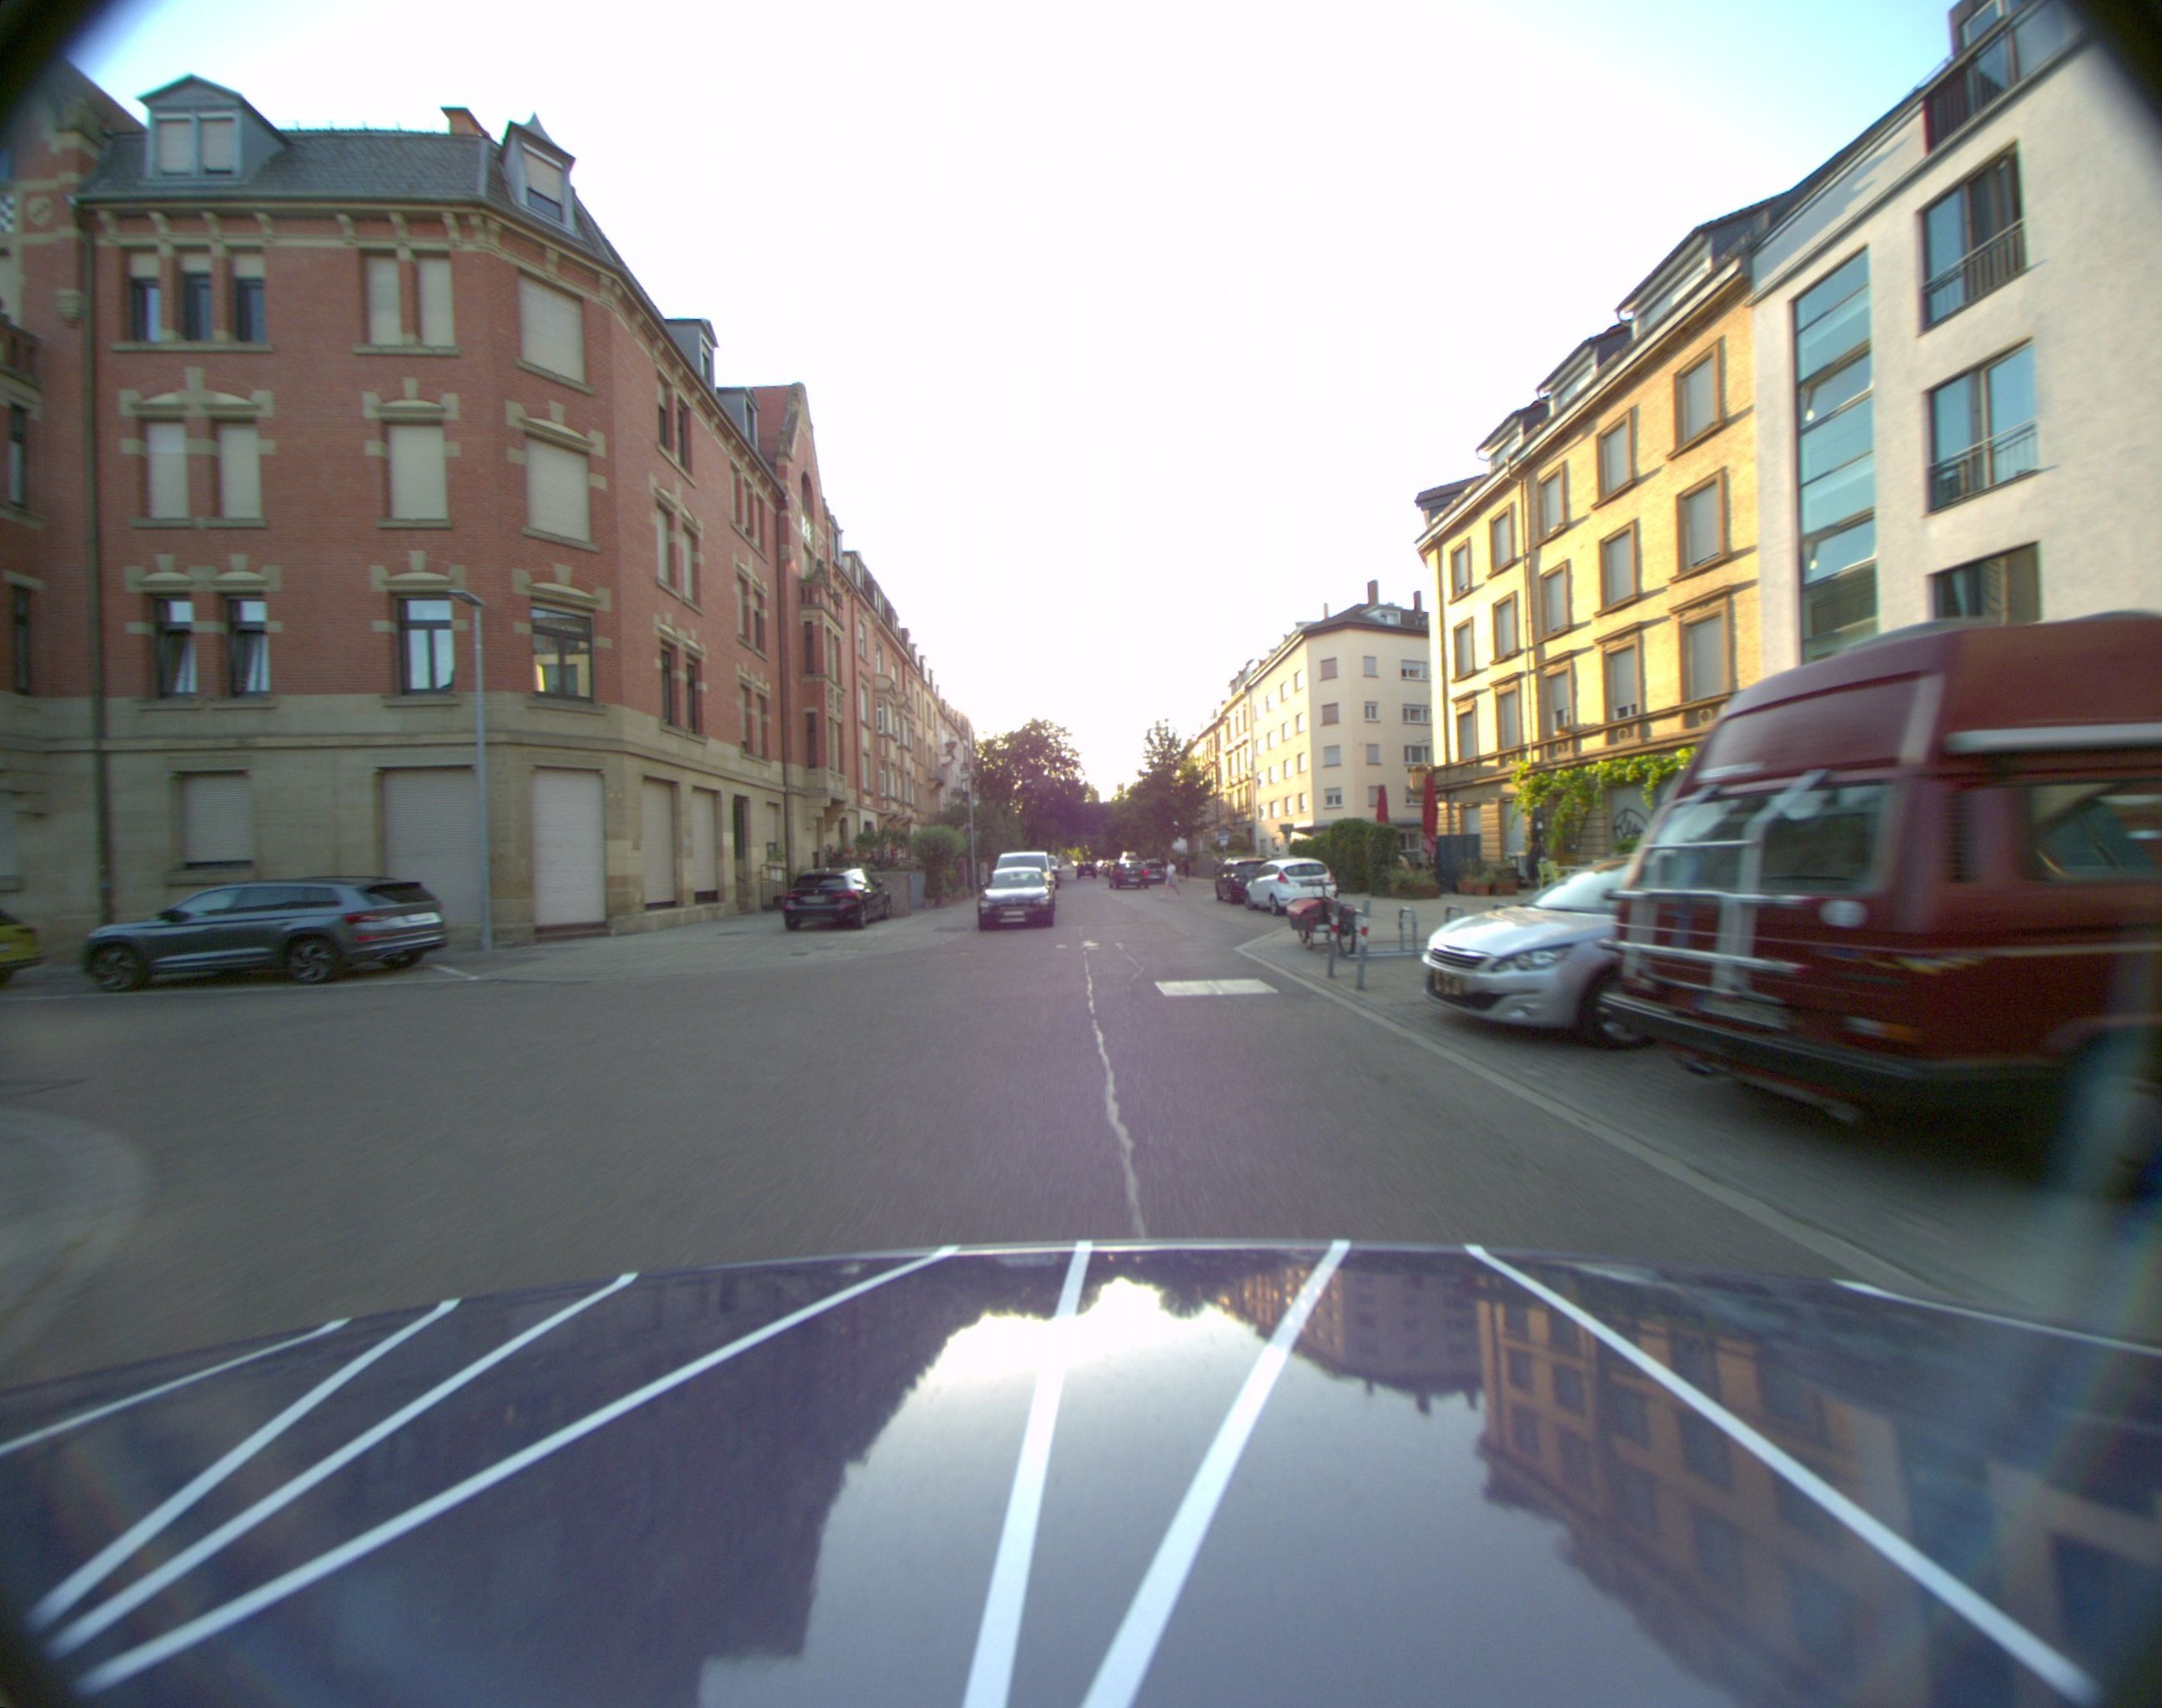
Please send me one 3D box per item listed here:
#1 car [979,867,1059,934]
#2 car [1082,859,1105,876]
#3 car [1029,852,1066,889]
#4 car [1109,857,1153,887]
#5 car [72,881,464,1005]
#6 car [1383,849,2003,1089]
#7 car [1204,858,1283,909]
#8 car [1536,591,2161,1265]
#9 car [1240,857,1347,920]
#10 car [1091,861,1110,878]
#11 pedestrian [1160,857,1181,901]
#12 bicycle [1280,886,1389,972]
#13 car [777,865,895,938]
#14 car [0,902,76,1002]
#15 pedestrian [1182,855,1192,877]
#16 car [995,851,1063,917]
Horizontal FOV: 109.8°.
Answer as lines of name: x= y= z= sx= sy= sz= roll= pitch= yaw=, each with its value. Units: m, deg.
car: x=-1.511 y=1.075 z=18.888 sx=1.733 sy=1.367 sz=3.762 roll=-2 pitch=0 yaw=-4
car: x=1.117 y=1.262 z=71.230 sx=1.891 sy=1.513 sz=3.999 roll=-2 pitch=0 yaw=-2
car: x=-2.029 y=0.956 z=44.869 sx=1.999 sy=2.002 sz=3.999 roll=-2 pitch=0 yaw=-4
car: x=2.490 y=0.880 z=38.810 sx=1.763 sy=1.478 sz=3.782 roll=0 pitch=0 yaw=-4
car: x=-13.286 y=1.404 z=12.667 sx=4.345 sy=1.656 sz=1.779 roll=-2 pitch=0 yaw=-4
car: x=4.929 y=0.803 z=6.424 sx=3.990 sy=1.408 sz=1.803 roll=-4 pitch=0 yaw=-8
car: x=5.497 y=0.938 z=26.132 sx=1.597 sy=1.513 sz=3.737 roll=-4 pitch=0 yaw=-4
car: x=5.159 y=0.222 z=3.914 sx=4.413 sy=2.541 sz=1.931 roll=-2 pitch=0 yaw=-1
car: x=5.797 y=0.888 z=21.153 sx=1.679 sy=1.502 sz=3.581 roll=-4 pitch=0 yaw=-4
car: x=2.410 y=1.953 z=95.212 sx=1.999 sy=2.002 sz=3.999 roll=-2 pitch=0 yaw=-4
pedestrian: x=3.322 y=0.923 z=28.206 sx=0.601 sy=1.564 sz=0.639 roll=-2 pitch=0 yaw=-8
bicycle: x=3.761 y=1.076 z=11.532 sx=0.805 sy=1.047 sz=2.414 roll=-2 pitch=0 yaw=-1
car: x=-5.972 y=1.089 z=19.010 sx=1.800 sy=1.515 sz=3.999 roll=-2 pitch=0 yaw=-4
car: x=-19.436 y=1.680 z=12.149 sx=3.998 sy=1.556 sz=1.830 roll=-2 pitch=0 yaw=-4
pedestrian: x=7.703 y=0.877 z=55.228 sx=0.645 sy=1.525 sz=0.638 roll=-2 pitch=0 yaw=0
car: x=-1.670 y=0.904 z=24.643 sx=1.940 sy=1.893 sz=4.054 roll=-2 pitch=0 yaw=-4
